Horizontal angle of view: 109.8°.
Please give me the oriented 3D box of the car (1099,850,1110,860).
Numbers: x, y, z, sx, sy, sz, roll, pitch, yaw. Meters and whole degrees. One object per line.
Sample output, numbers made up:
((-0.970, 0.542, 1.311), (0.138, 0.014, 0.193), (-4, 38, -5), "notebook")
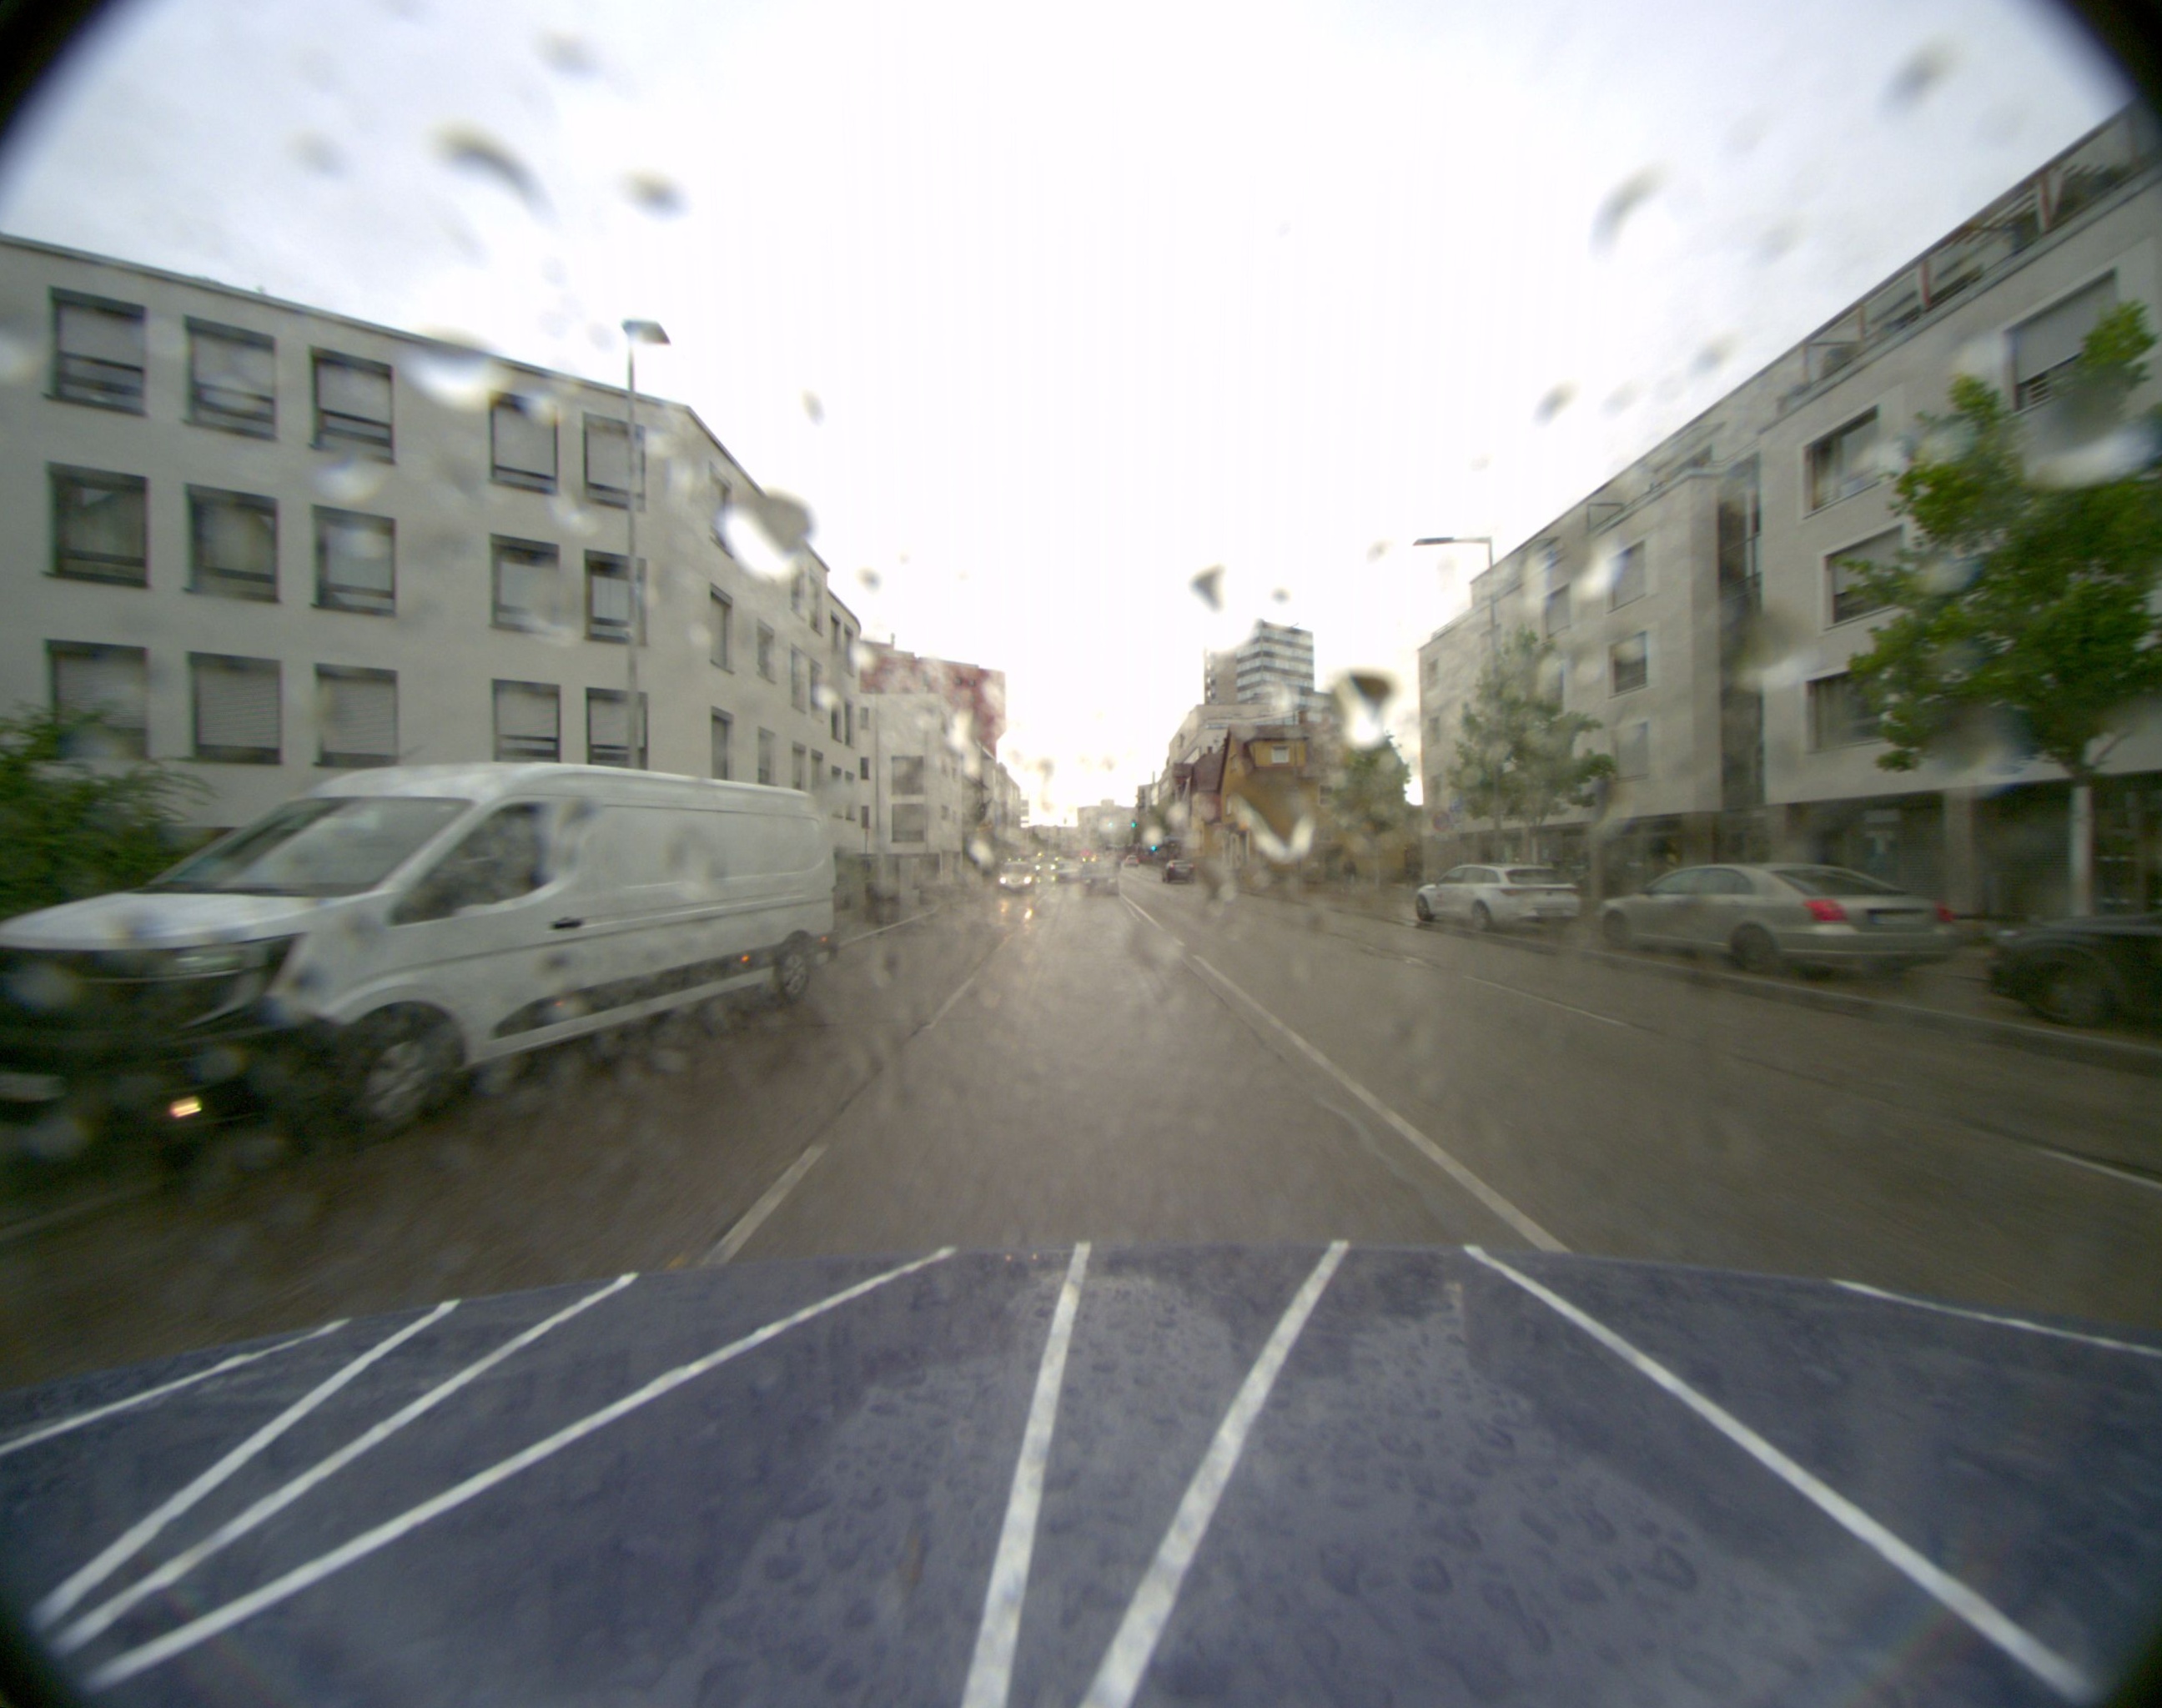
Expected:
((3.990, 0.180, 130.922), (1.883, 1.600, 4.718), (0, 1, 1), "car")

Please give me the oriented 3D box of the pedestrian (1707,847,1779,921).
((15.841, 0.695, 18.219), (0.811, 1.728, 1.003), (0, 2, -1), "pedestrian")

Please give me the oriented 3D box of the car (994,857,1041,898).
((-2.965, 1.062, 36.357), (2.017, 1.613, 4.358), (-1, 2, -2), "car")

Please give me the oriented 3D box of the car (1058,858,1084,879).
((-0.731, 1.009, 52.901), (1.662, 1.300, 3.993), (0, 1, -2), "car")

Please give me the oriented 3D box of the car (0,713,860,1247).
((-4.681, 0.489, 6.826), (2.294, 2.368, 6.630), (0, 1, 12), "car")

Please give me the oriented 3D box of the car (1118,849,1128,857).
((8.190, -0.222, 147.368), (2.005, 1.608, 4.948), (0, 1, 3), "car")

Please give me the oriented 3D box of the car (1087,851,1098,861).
((1.766, 0.264, 119.946), (1.719, 1.442, 4.197), (0, 1, 1), "car")

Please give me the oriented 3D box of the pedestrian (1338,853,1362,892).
((12.472, 0.828, 35.232), (0.802, 1.778, 0.882), (0, 2, 4), "pedestrian")

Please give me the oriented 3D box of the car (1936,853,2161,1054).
((9.247, 0.772, 5.278), (1.591, 1.573, 4.470), (0, 0, 0), "car")

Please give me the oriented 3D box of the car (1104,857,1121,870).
((3.746, 1.077, 89.663), (1.772, 1.405, 4.524), (0, 1, -1), "car")

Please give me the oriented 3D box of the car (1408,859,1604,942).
((9.242, 0.913, 17.036), (1.800, 1.454, 4.476), (-1, 1, -2), "car")

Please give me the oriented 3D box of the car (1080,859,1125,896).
((0.876, 0.979, 32.922), (1.688, 1.373, 3.792), (-2, 1, -2), "car")

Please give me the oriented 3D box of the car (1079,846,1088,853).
((0.525, -1.027, 166.989), (1.710, 1.508, 4.392), (0, 1, 3), "car")

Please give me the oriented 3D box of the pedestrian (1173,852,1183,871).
((9.917, 0.723, 77.565), (0.663, 1.910, 0.946), (-3, 2, -8), "pedestrian")

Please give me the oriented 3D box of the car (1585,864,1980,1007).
((9.691, 0.981, 11.156), (1.695, 1.501, 4.577), (0, 1, 3), "car")

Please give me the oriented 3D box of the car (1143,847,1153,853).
((14.394, -0.876, 164.061), (1.757, 1.402, 3.729), (0, 1, 0), "car")

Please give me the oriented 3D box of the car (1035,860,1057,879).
((-3.423, 1.433, 73.606), (2.059, 1.638, 4.477), (0, 1, -3), "car")

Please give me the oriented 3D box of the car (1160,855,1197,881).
((6.300, 0.909, 49.711), (1.885, 1.515, 4.183), (0, 1, 0), "car")

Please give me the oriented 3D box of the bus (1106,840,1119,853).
((7.944, -1.935, 194.754), (2.899, 3.082, 11.996), (0, 1, 0), "bus")

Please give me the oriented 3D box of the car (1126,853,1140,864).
((7.171, 0.641, 105.716), (1.653, 1.410, 4.138), (2, 1, 1), "car")

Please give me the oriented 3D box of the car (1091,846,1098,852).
((3.360, -1.366, 188.949), (1.762, 1.426, 4.380), (0, 1, 3), "car")

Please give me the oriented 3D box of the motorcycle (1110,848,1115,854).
((6.797, -0.757, 165.029), (0.910, 1.276, 2.184), (0, 1, 0), "motorcycle")
